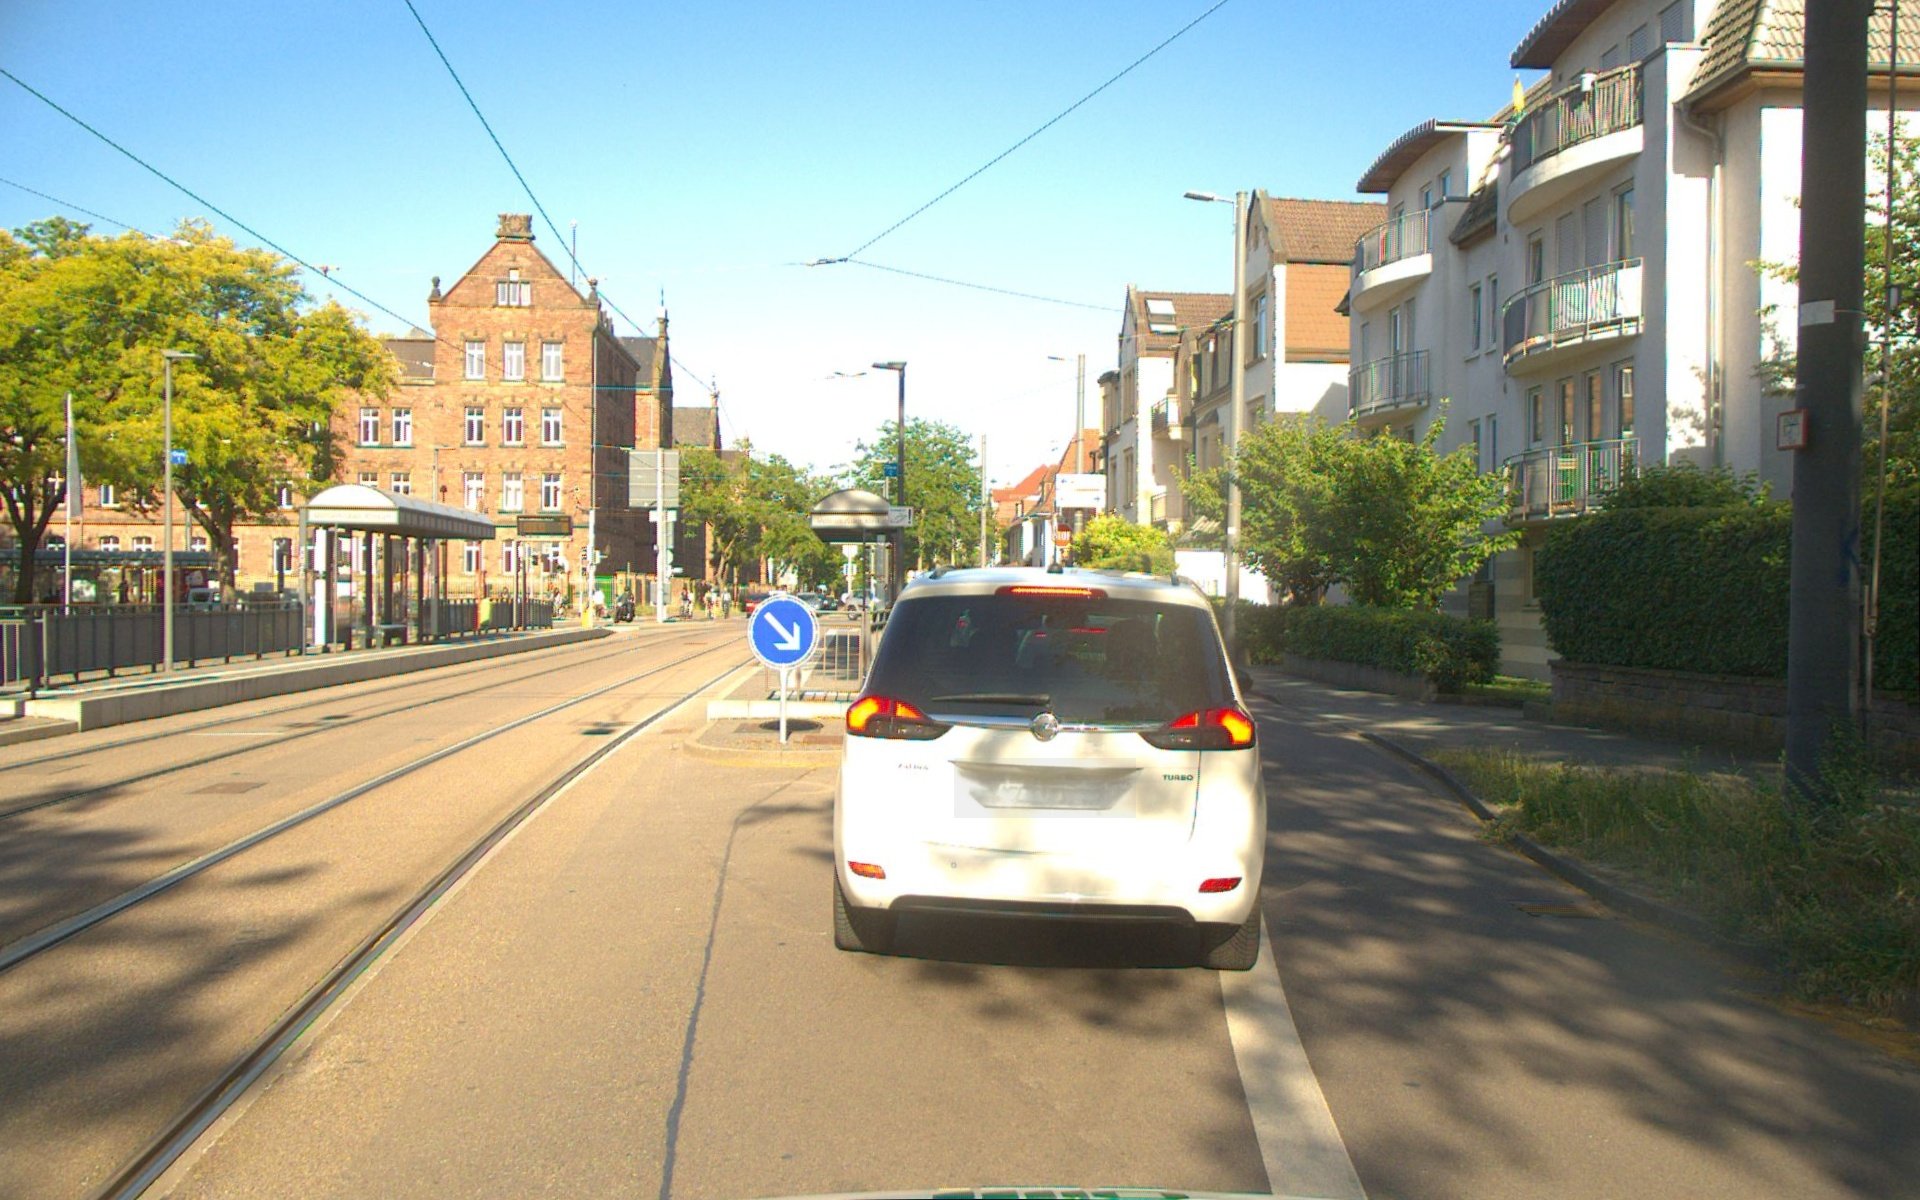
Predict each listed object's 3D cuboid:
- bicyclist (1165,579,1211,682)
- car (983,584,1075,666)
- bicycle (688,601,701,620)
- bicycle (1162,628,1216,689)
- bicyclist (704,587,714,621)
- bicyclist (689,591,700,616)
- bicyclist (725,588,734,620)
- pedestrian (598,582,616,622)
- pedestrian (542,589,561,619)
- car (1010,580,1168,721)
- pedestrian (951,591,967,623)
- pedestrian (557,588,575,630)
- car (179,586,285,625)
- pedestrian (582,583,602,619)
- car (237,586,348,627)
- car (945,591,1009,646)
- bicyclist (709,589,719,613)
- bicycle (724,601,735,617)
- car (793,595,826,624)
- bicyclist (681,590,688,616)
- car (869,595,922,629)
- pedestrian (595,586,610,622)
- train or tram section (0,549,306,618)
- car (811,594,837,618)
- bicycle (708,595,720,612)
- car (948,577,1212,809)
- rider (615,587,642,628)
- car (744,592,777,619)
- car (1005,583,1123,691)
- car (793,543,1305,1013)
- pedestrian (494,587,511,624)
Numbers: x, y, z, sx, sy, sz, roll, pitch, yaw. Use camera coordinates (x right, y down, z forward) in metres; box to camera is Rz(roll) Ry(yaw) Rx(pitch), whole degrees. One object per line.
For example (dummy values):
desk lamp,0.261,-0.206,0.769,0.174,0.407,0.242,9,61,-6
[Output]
bicyclist,3.810,0.502,27.655,0.662,1.687,0.745,0,0,0
car,1.448,0.504,36.118,1.868,1.690,4.000,0,0,0
bicycle,-15.647,0.626,97.415,0.498,1.096,1.738,1,0,-1
bicycle,3.817,0.958,27.676,0.662,0.941,1.885,0,0,1
bicyclist,-15.211,0.222,100.055,0.488,2.049,0.572,1,-1,-1
bicyclist,-15.632,0.212,97.344,0.520,1.503,0.572,1,-1,-1
bicyclist,-14.689,0.254,105.307,0.478,2.049,0.502,1,-1,-1
pedestrian,-18.078,0.094,84.691,0.782,2.049,0.717,1,-1,-18
pedestrian,-22.141,0.225,89.591,0.642,1.640,0.709,1,-1,32
car,1.750,0.586,21.624,1.866,1.653,4.003,0,0,6
pedestrian,-0.054,0.446,103.318,0.791,1.934,0.744,1,-1,14
pedestrian,-19.435,0.446,81.544,0.781,2.049,1.042,1,-1,-15
car,-32.443,0.231,73.819,3.908,1.658,1.817,1,0,-4
pedestrian,-20.649,0.063,92.864,0.705,2.049,0.795,1,-1,33
car,-28.112,0.277,69.746,3.908,1.658,1.817,1,0,-4
car,0.506,0.555,53.081,1.869,1.690,3.998,0,0,-2
bicyclist,-15.606,0.057,105.031,0.520,1.503,0.572,1,-1,-1
bicycle,-14.693,0.564,105.343,0.477,0.988,1.405,1,0,-1
car,-9.420,0.569,103.554,1.711,1.746,3.999,1,0,-1
bicyclist,-15.633,0.188,93.773,0.307,1.469,0.384,1,-1,-1
car,-3.487,0.646,88.688,1.721,1.746,3.977,1,0,-20
pedestrian,-20.418,0.253,94.513,0.675,2.049,0.618,1,-1,3
train or tram section,-40.745,-0.748,79.422,17.048,3.210,3.343,0,0,-6
car,-10.292,0.431,125.556,1.711,1.746,3.999,1,0,-1
bicycle,-15.588,0.210,104.976,0.498,1.096,1.738,1,0,-1
car,1.070,0.649,13.773,1.866,1.625,4.003,0,0,6
rider,-14.802,0.330,73.921,0.779,1.813,2.486,1,0,-2
car,-13.203,0.346,109.766,1.711,1.746,3.999,1,0,-1
car,1.791,0.578,28.285,1.867,1.690,4.002,0,0,4
car,0.533,0.632,8.054,1.866,1.690,4.003,0,0,6
pedestrian,-22.228,0.259,80.311,0.754,1.805,0.717,1,-1,-18
